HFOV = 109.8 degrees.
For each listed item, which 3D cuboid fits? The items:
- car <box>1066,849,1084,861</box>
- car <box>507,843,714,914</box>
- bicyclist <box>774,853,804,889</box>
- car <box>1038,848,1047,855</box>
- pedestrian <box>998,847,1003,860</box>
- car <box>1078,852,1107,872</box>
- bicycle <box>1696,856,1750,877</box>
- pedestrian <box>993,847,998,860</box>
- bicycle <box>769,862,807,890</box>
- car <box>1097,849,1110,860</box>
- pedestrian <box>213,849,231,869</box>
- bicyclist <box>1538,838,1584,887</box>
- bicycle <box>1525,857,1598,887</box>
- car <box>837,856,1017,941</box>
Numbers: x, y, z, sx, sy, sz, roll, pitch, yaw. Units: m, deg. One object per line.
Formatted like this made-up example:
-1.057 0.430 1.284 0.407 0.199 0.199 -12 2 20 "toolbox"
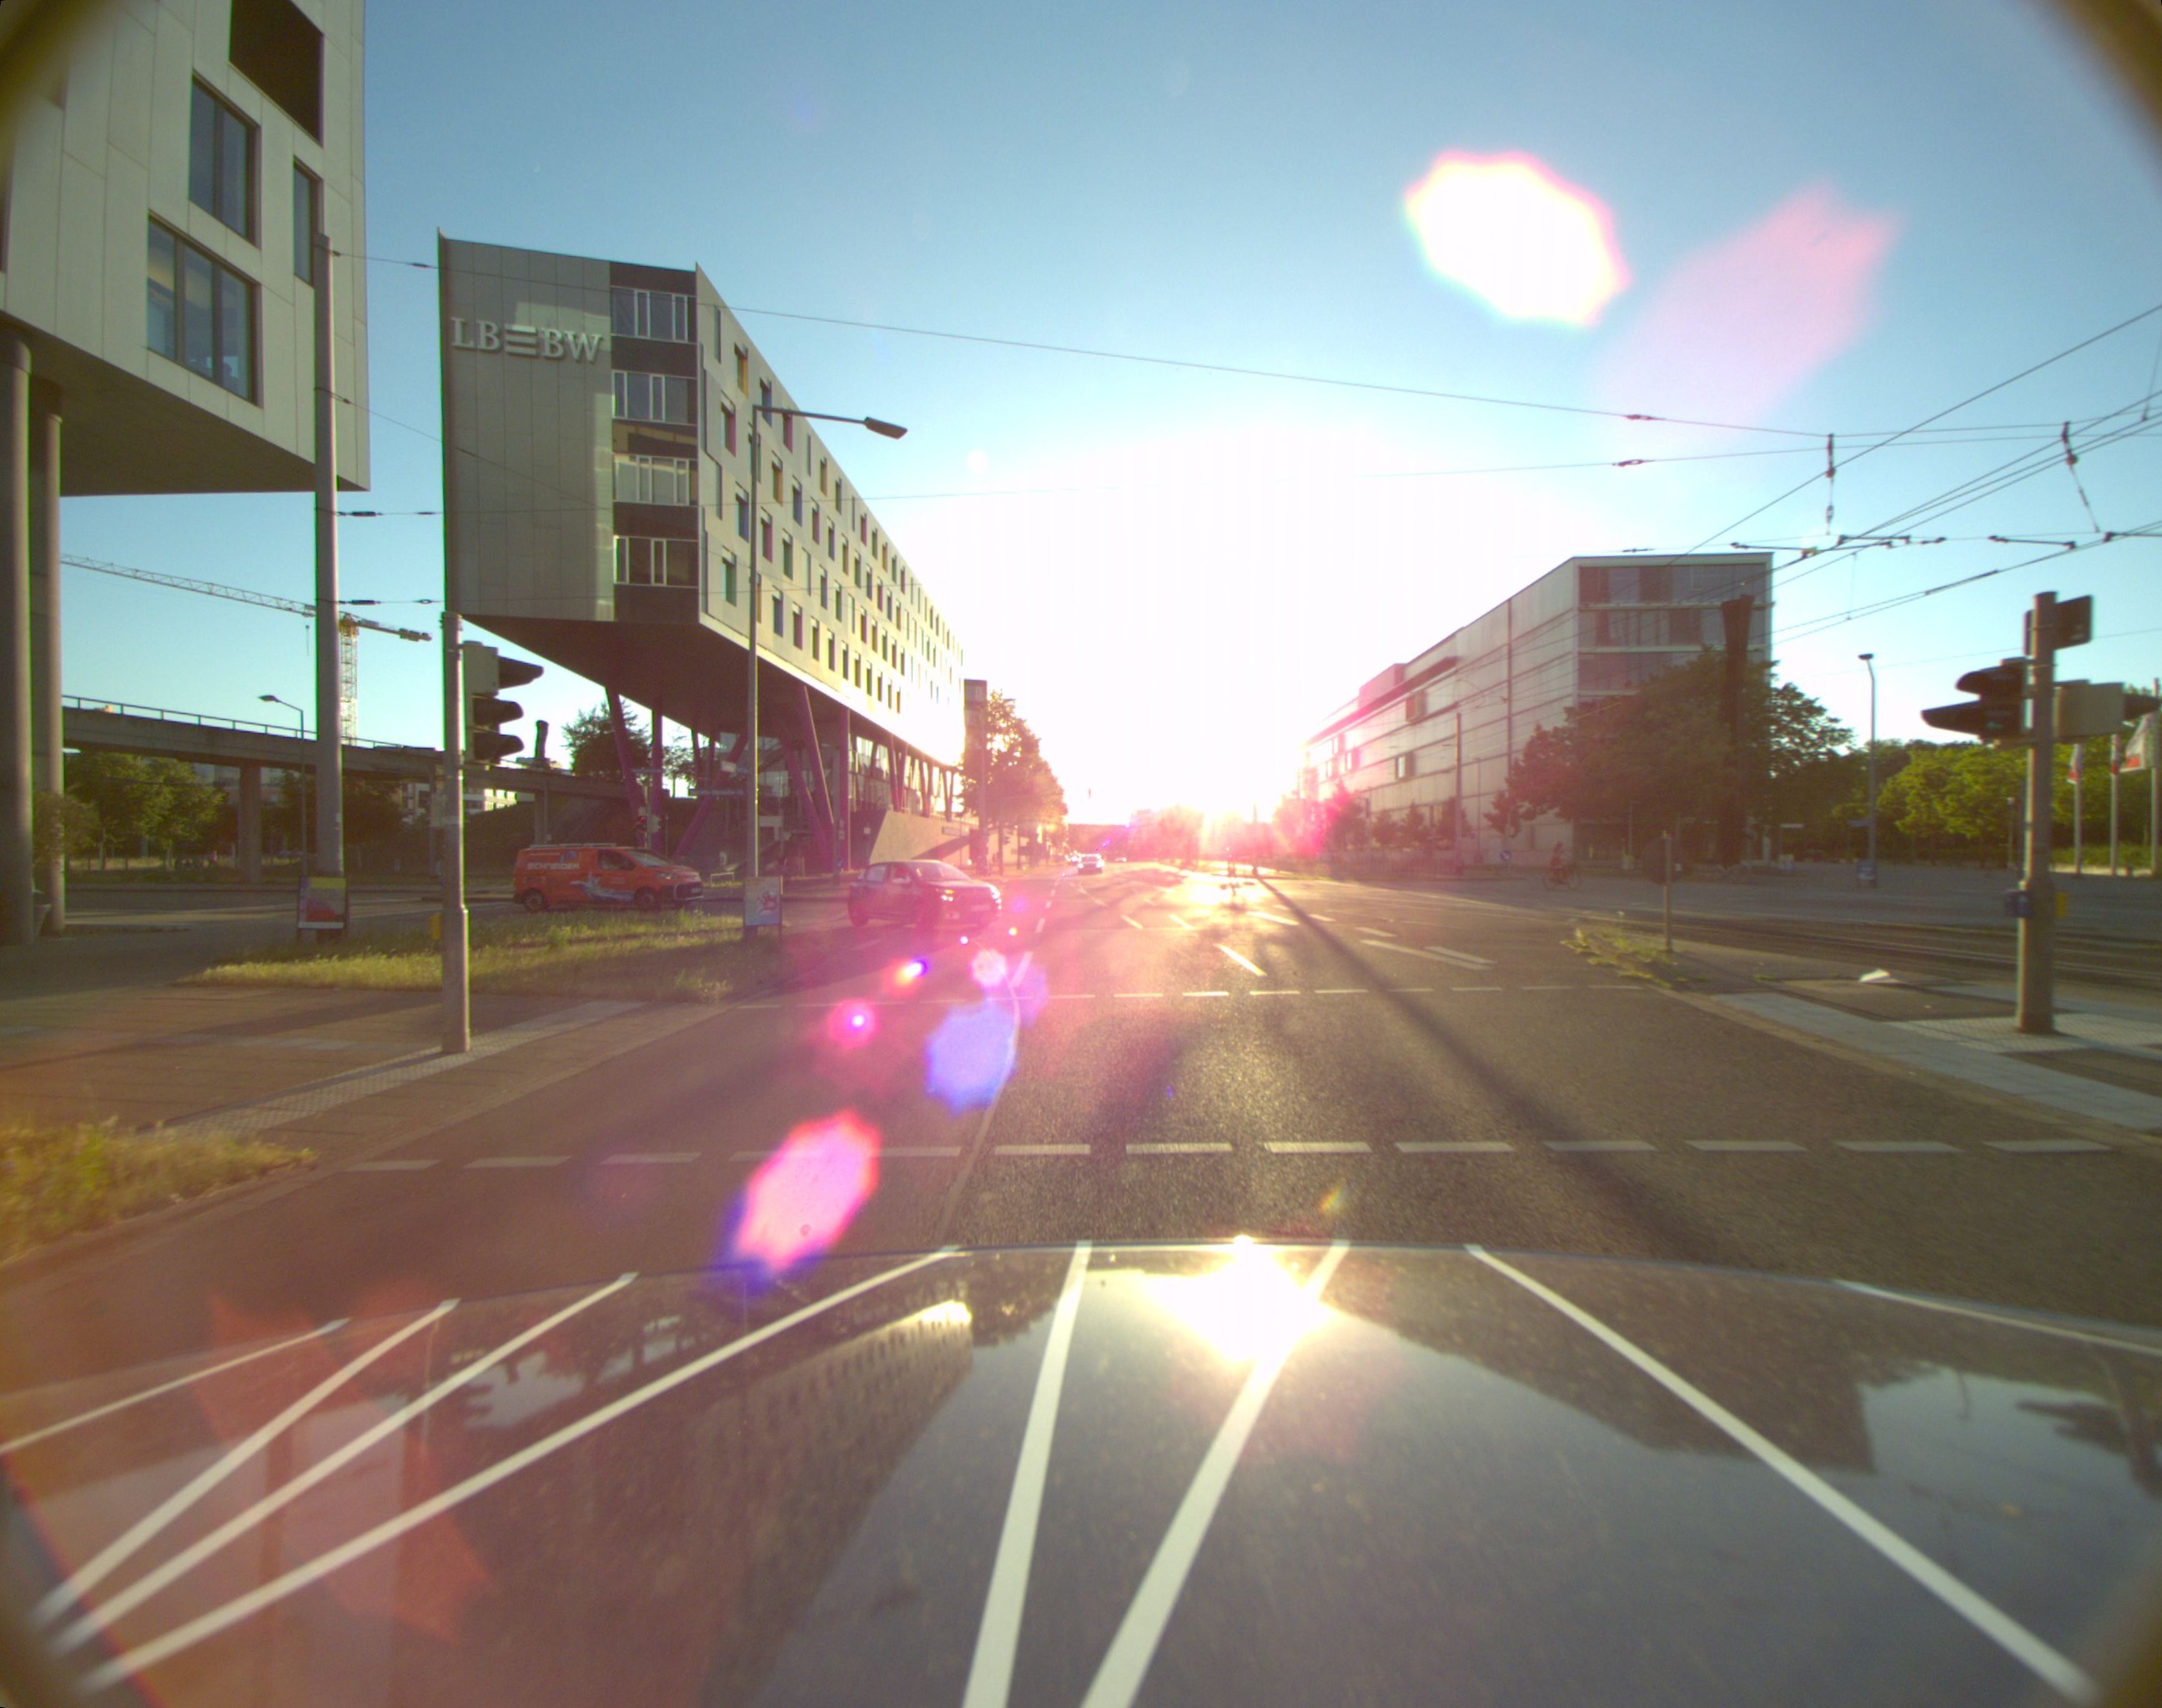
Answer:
-0.629 0.102 87.228 1.998 1.412 3.999 0 1 0 "car"
-13.569 0.665 22.109 4.817 1.980 1.932 0 2 2 "car"
-13.390 0.758 34.919 0.807 1.624 1.288 0 1 4 "bicyclist"
-8.955 -0.592 177.406 1.718 1.490 4.000 0 1 2 "car"
-12.137 -0.042 114.961 0.618 2.002 0.812 1 1 2 "pedestrian"
0.880 0.574 55.839 1.998 1.412 4.001 0 1 4 "car"
35.579 0.704 42.123 2.391 1.129 0.701 0 1 1 "bicycle"
-12.911 -0.054 115.008 0.618 2.002 0.812 1 1 2 "pedestrian"
-13.407 0.988 34.860 0.742 1.200 2.111 0 1 5 "bicycle"
3.573 0.003 120.474 1.998 1.696 3.999 0 1 0 "car"
-68.246 0.387 60.359 0.416 1.602 0.781 0 1 15 "pedestrian"
16.966 0.294 26.889 0.995 1.708 1.035 0 1 3 "bicyclist"
17.022 0.633 26.937 2.120 1.062 0.636 0 1 3 "bicycle"
-3.396 0.843 16.318 4.059 1.543 1.765 1 1 44 "car"
